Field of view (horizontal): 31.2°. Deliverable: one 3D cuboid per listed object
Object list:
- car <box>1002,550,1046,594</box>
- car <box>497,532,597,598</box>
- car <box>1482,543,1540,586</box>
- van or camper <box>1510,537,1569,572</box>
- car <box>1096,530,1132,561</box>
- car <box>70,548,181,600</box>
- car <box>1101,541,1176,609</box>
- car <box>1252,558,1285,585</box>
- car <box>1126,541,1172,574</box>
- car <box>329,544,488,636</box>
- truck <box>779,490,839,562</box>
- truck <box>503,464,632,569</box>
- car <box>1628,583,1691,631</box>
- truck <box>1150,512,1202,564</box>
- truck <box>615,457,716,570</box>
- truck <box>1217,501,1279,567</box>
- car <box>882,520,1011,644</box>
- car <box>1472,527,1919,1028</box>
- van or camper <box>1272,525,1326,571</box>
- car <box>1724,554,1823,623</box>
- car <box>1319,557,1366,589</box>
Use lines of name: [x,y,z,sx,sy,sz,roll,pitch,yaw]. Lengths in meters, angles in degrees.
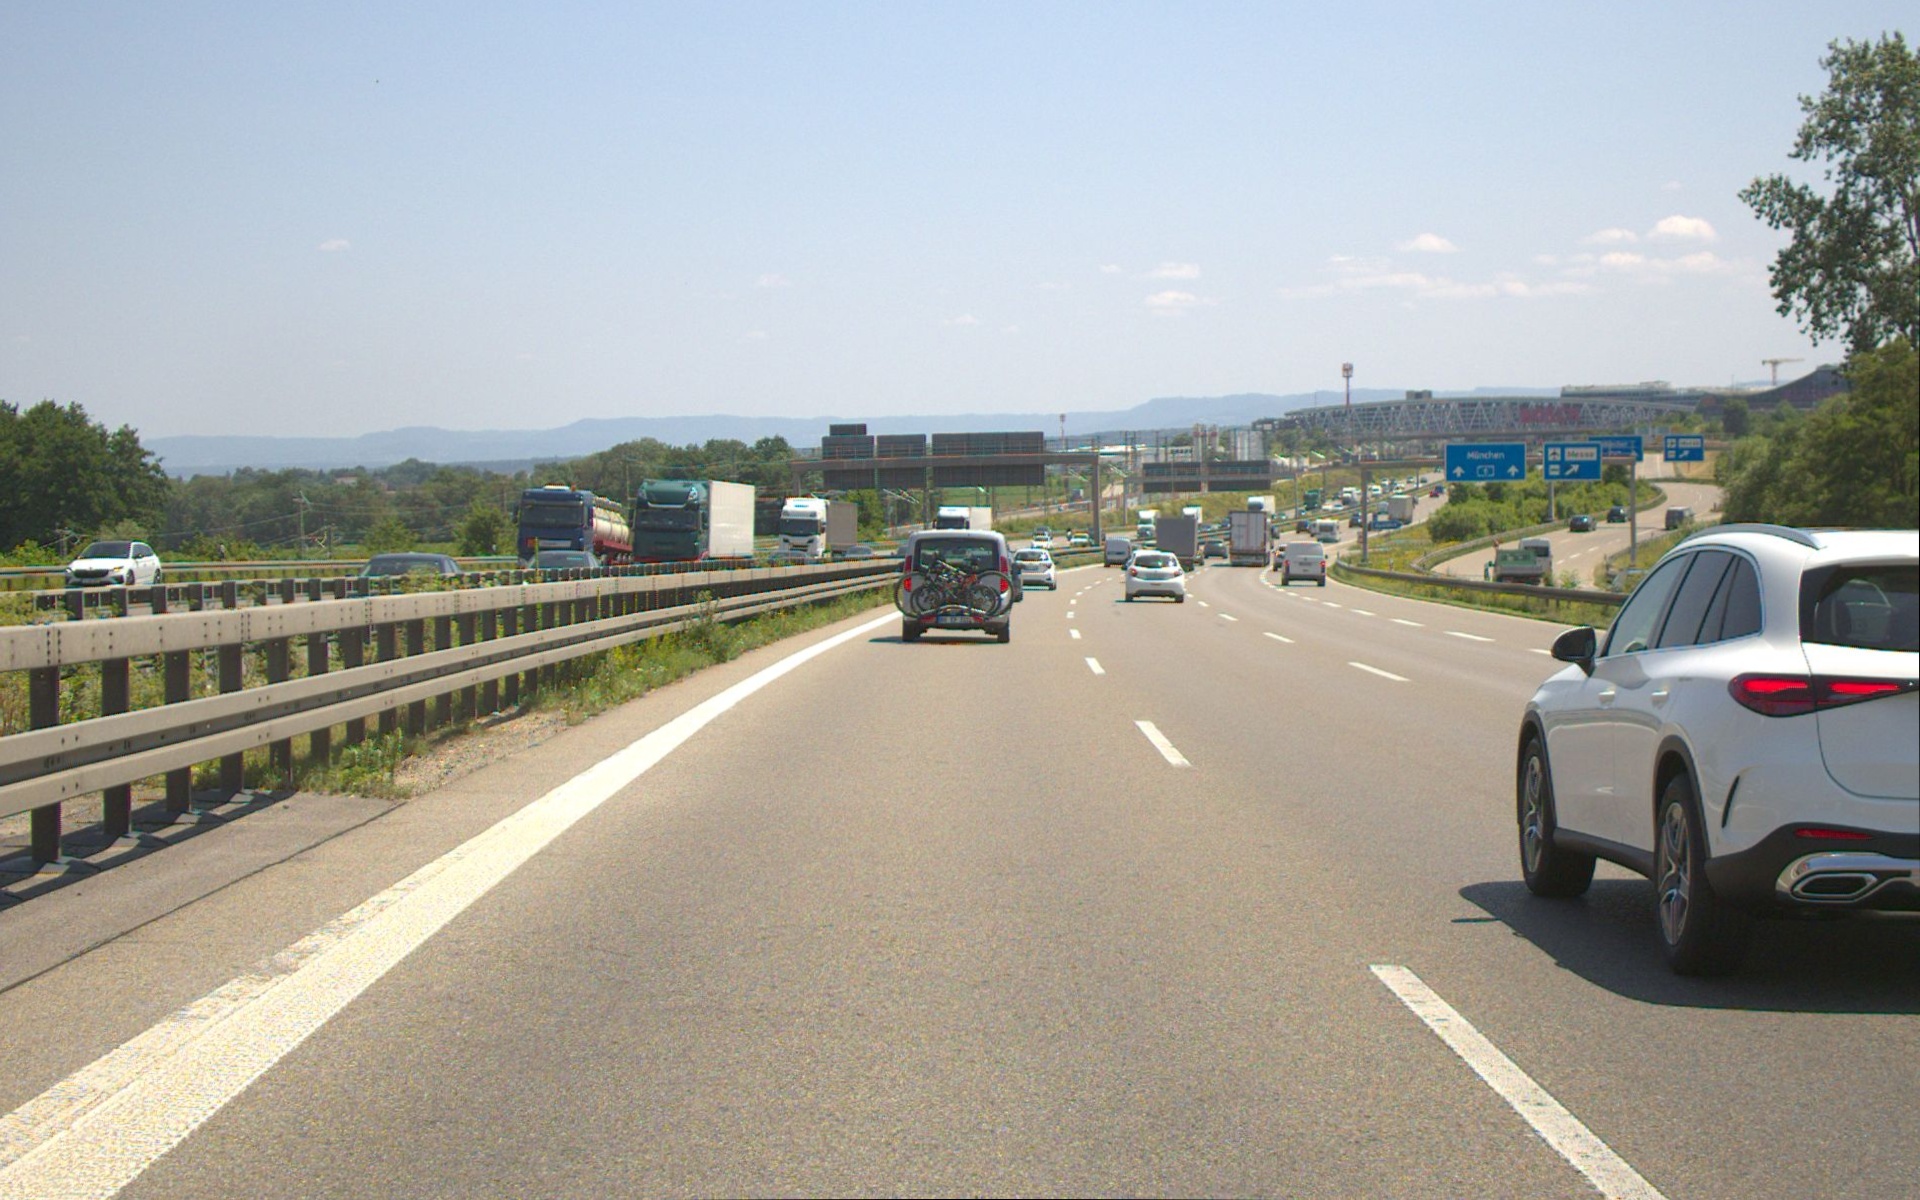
car: [2.341,-1.028,125.364,1.576,1.547,3.964,1,1,1]
car: [-9.463,-0.820,79.120,1.678,1.459,4.705,1,1,1]
car: [26.585,-1.723,166.087,1.993,2.007,4.000,1,1,-2]
van or camper: [34.888,-2.744,207.063,2.528,2.007,4.461,1,1,-4]
car: [10.118,-3.542,225.500,2.186,1.996,4.000,1,1,4]
car: [-23.371,-0.749,96.424,1.518,1.397,4.796,1,1,6]
car: [5.224,-0.754,101.028,1.926,1.912,4.518,1,1,0]
car: [19.795,-1.847,220.557,1.994,1.684,4.000,1,1,4]
car: [8.491,-1.933,154.926,1.982,1.468,4.000,0,1,2]
car: [-9.175,-0.197,57.502,1.867,1.459,4.638,1,1,1]
truck: [-8.890,-4.342,202.647,2.881,4.103,6.384,1,1,3]
truck: [-14.943,-3.156,131.987,3.219,3.773,12.901,1,1,1]
car: [24.269,0.236,119.397,1.994,1.590,3.998,1,1,10]
truck: [13.485,-3.846,214.233,2.703,3.098,10.657,1,1,6]
truck: [-11.116,-3.234,130.435,2.967,4.105,7.598,1,1,1]
truck: [20.794,-4.788,247.310,4.040,4.247,11.756,1,3,7]
car: [-0.181,-0.313,56.561,1.927,1.912,4.948,1,1,2]
car: [3.432,0.562,13.822,1.898,1.641,4.999,1,1,-1]
van or camper: [15.192,-2.336,154.180,2.156,2.007,4.304,1,1,2]
car: [23.425,-0.343,99.131,1.939,1.917,4.179,1,1,2]
car: [20.702,-1.487,186.183,1.993,1.684,4.000,1,1,0]
